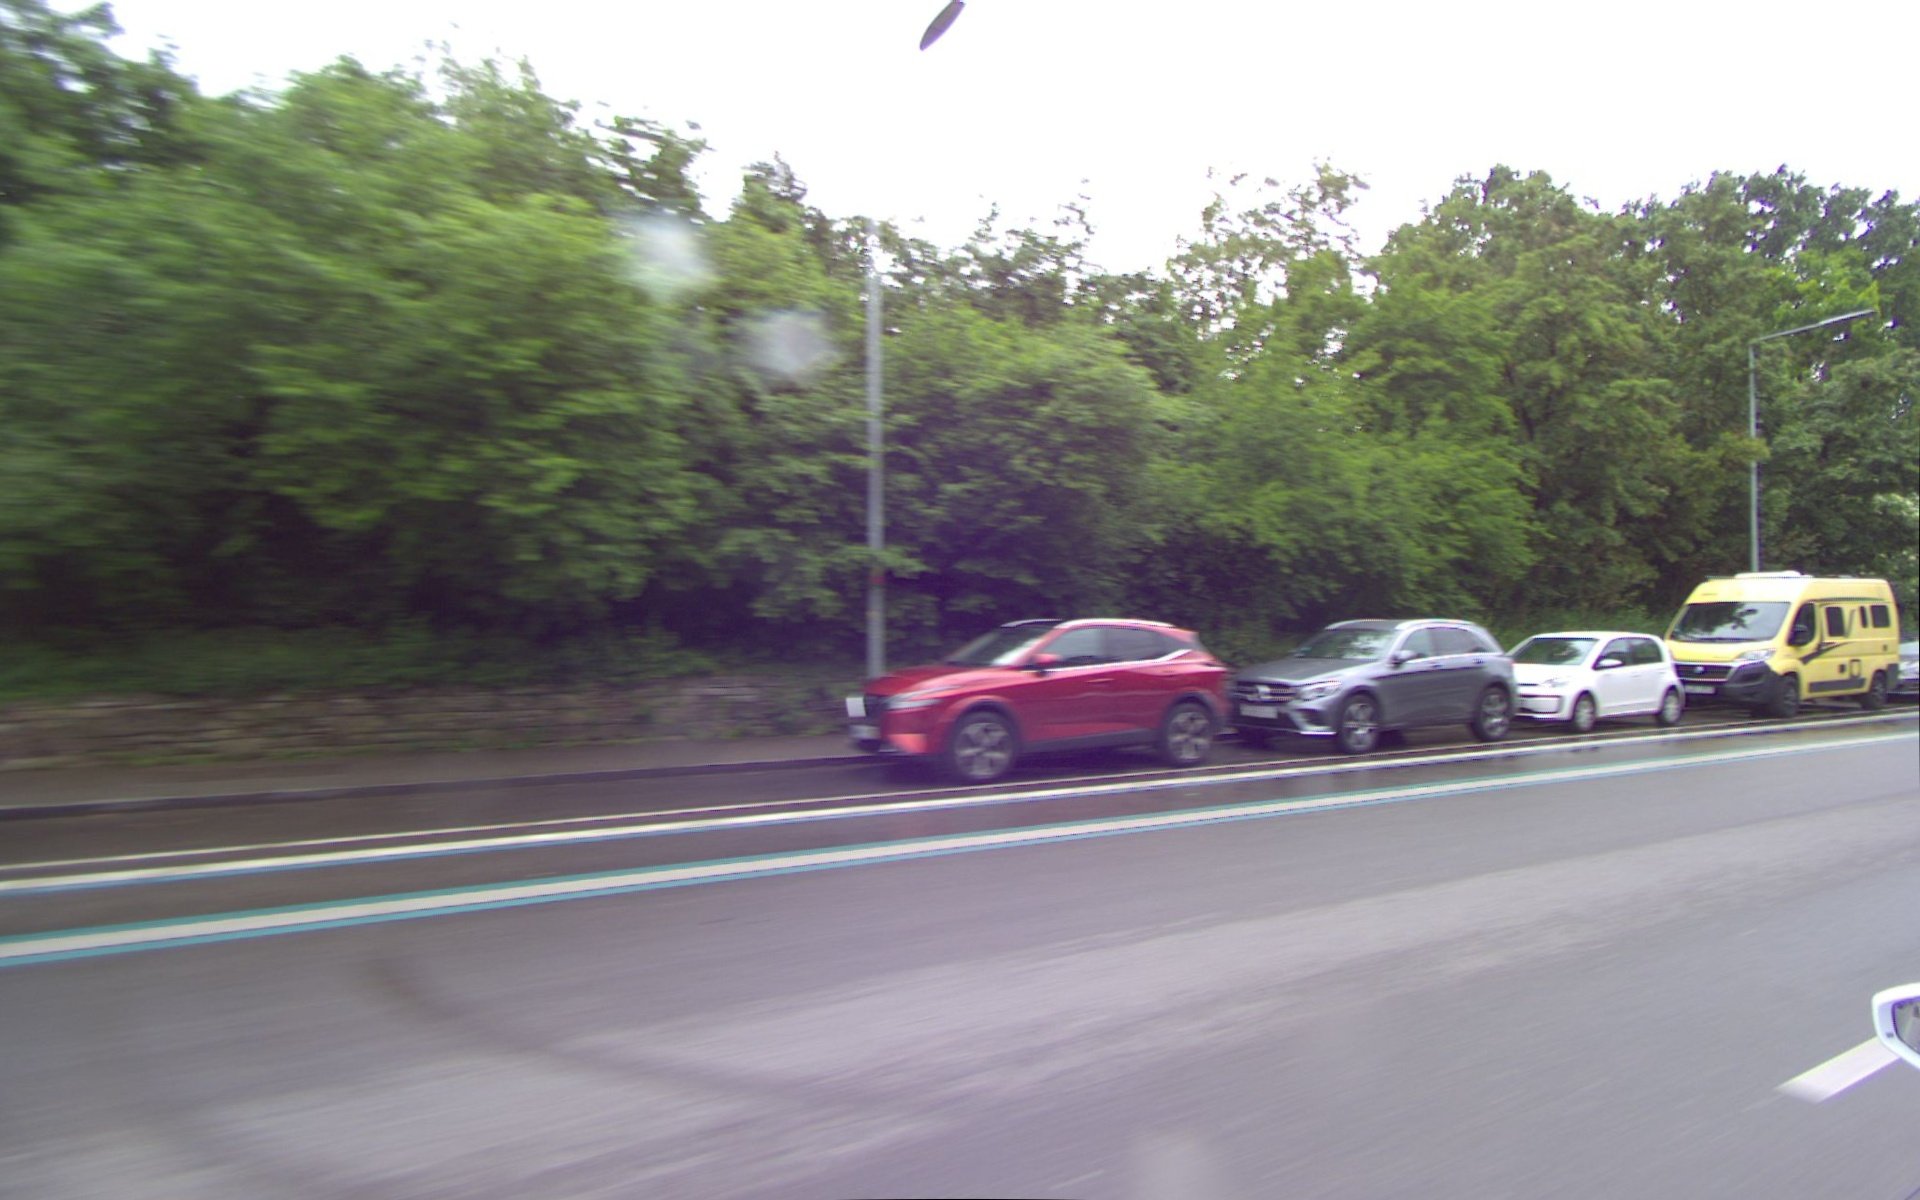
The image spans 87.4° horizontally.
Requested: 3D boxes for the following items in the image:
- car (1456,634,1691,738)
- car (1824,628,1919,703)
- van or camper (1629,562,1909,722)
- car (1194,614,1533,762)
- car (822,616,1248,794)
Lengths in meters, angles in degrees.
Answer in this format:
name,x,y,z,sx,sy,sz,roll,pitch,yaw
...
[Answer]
name,x,y,z,sx,sy,sz,roll,pitch,yaw
car,9.788,1.292,16.008,3.611,1.468,1.611,1,-2,-29
car,20.797,1.365,21.979,4.101,1.518,1.671,1,-2,-31
van or camper,15.399,0.749,19.048,5.611,2.662,2.135,1,-1,-28
car,5.572,1.060,13.738,4.562,1.723,1.984,1,-1,-31
car,0.887,1.029,11.192,4.434,1.638,1.911,1,-2,-29
